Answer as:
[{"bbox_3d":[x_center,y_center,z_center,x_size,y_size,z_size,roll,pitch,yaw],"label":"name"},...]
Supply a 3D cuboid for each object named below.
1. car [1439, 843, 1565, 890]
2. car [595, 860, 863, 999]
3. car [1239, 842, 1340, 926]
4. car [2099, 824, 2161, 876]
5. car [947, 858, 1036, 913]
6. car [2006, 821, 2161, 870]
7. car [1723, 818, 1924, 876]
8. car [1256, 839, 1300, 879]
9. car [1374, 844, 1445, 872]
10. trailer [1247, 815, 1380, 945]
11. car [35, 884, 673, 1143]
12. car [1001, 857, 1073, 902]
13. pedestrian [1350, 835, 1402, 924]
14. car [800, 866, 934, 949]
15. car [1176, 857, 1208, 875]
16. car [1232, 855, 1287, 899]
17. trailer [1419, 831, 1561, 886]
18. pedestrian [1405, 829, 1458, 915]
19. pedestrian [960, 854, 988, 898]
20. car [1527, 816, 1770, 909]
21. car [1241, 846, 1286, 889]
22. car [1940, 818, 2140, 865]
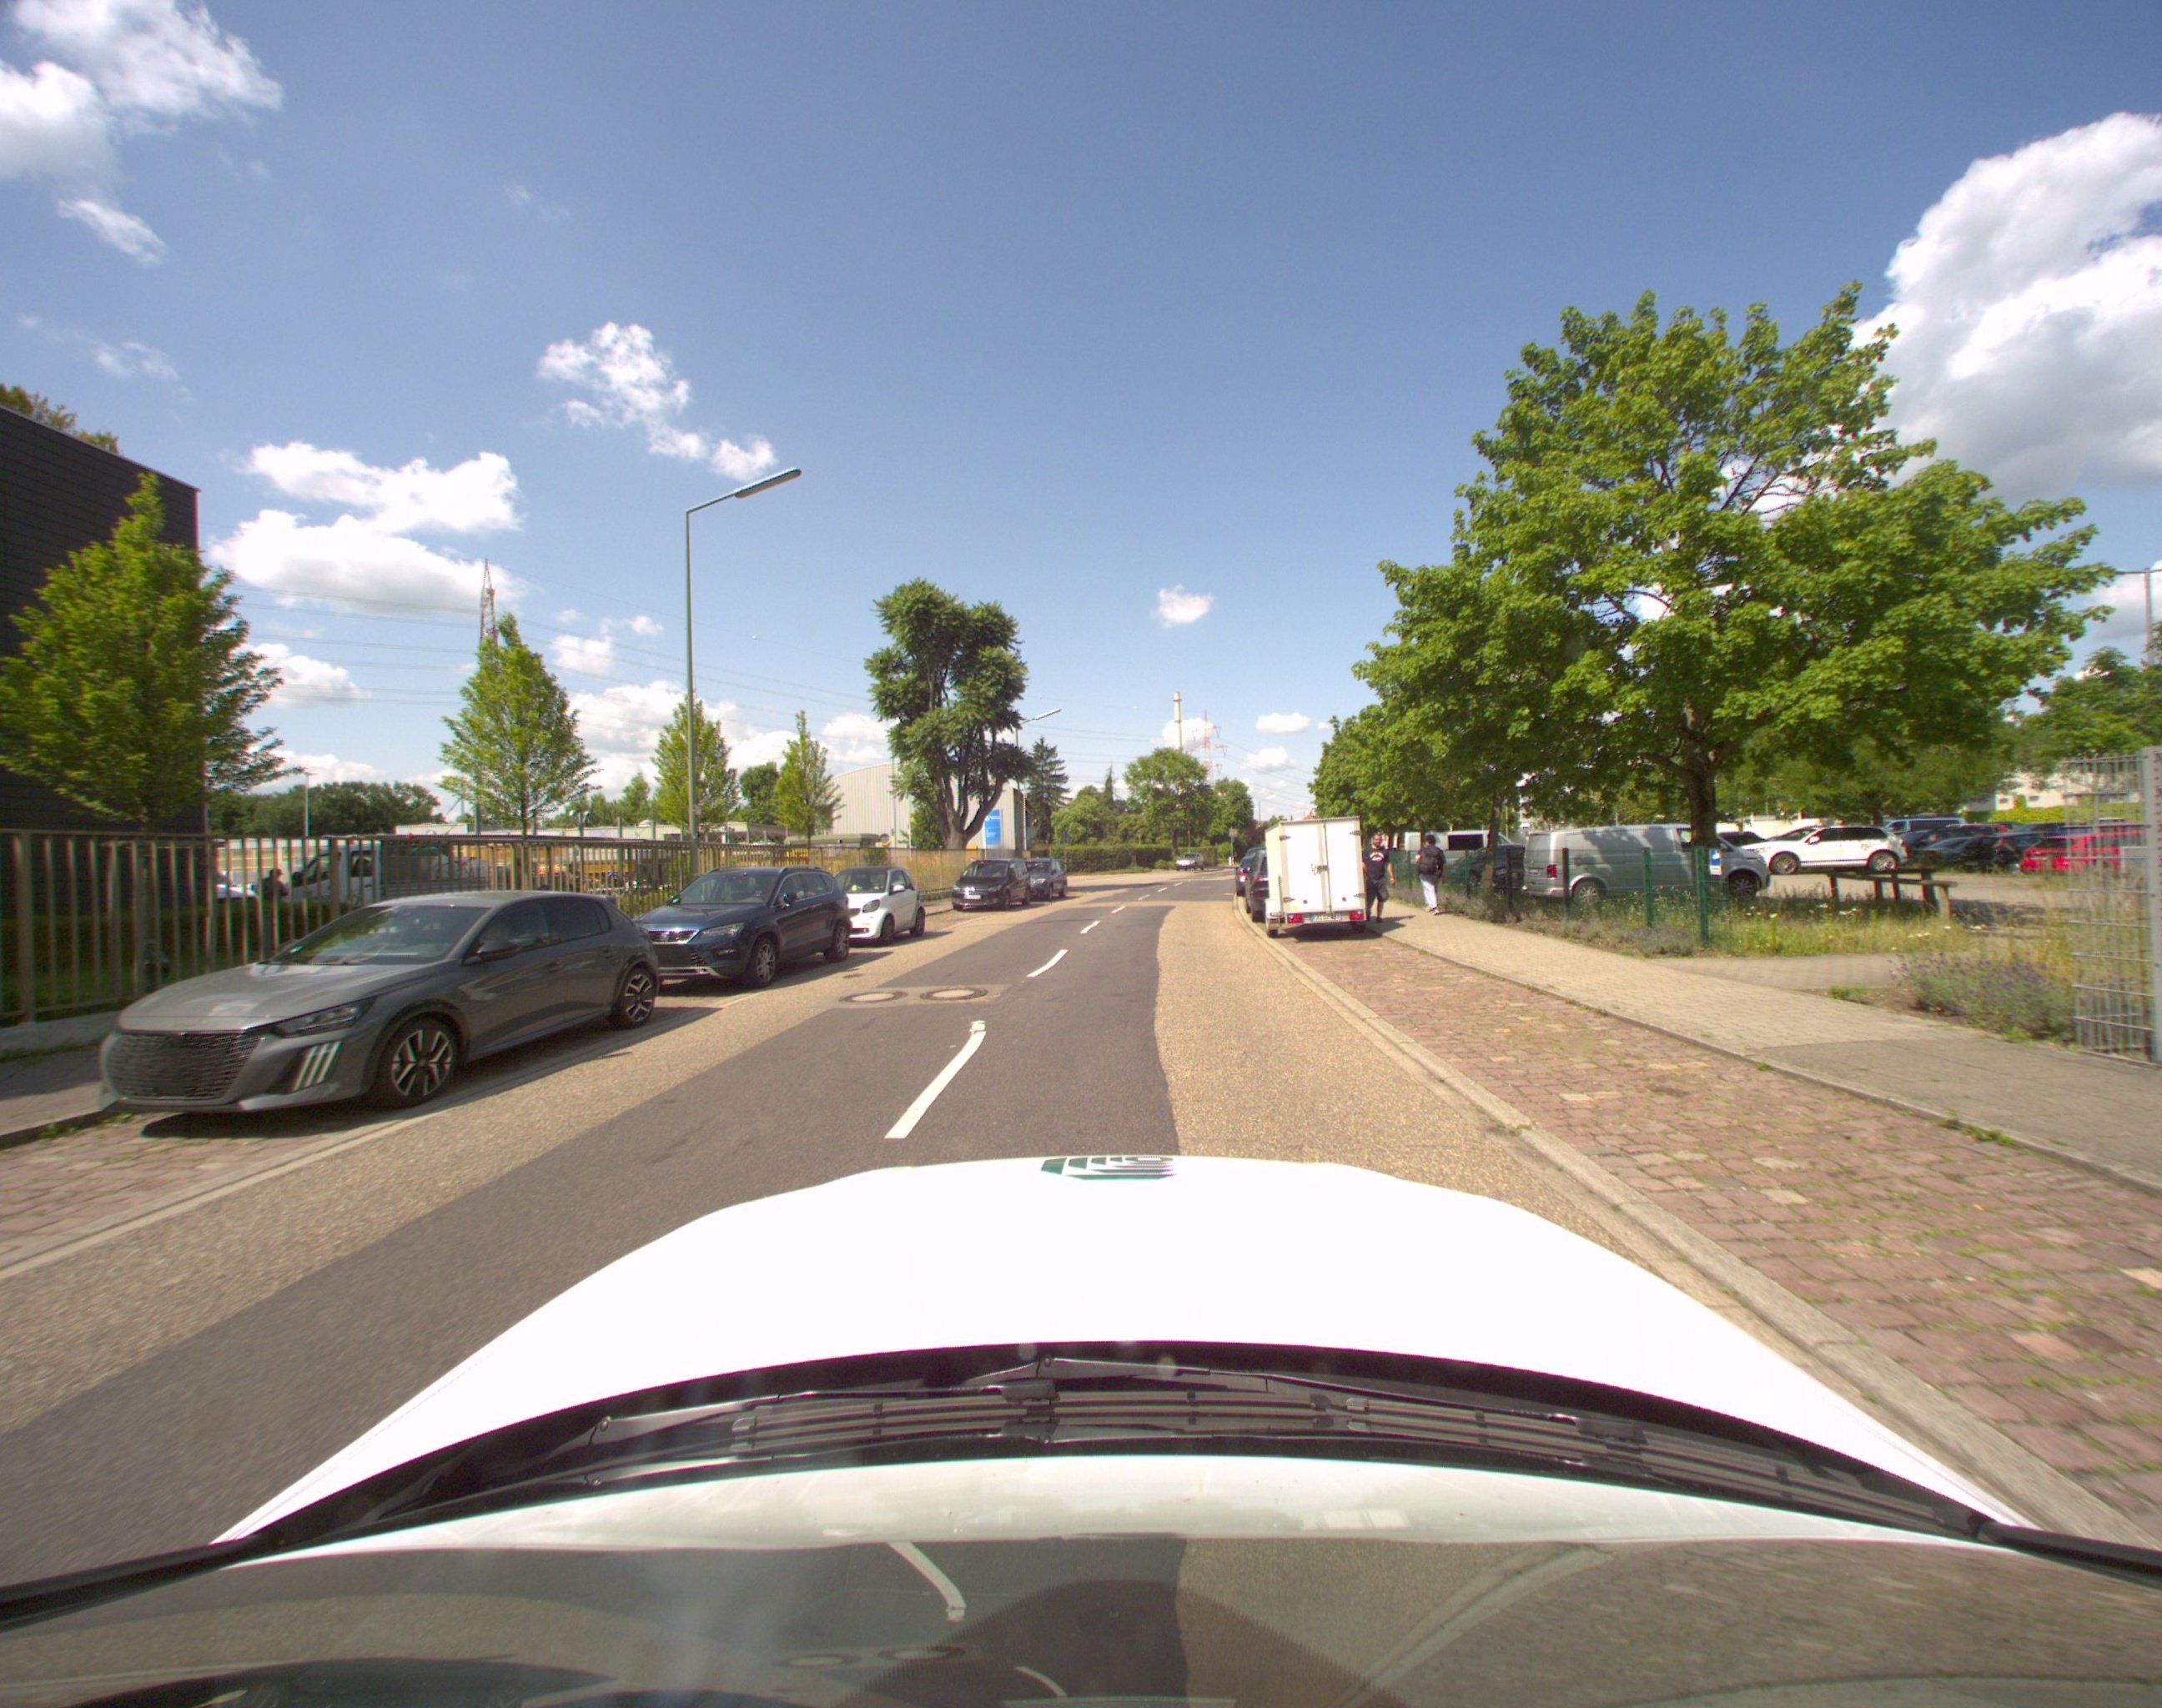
[{"bbox_3d":[16.162,0.465,31.454,3.961,1.636,1.699,-2,-1,11],"label":"car"},{"bbox_3d":[-4.850,0.936,12.014,1.725,1.656,4.317,-1,-1,5],"label":"car"},{"bbox_3d":[4.969,0.674,19.991,1.850,1.682,4.721,-4,-1,9],"label":"car"},{"bbox_3d":[30.736,-0.161,21.842,3.959,1.374,1.845,-2,-1,13],"label":"car"},{"bbox_3d":[-2.868,0.971,27.078,1.764,1.682,4.242,-1,-1,10],"label":"car"},{"bbox_3d":[31.095,-0.254,24.550,3.959,1.374,1.725,-2,-1,13],"label":"car"},{"bbox_3d":[25.694,-0.226,28.371,4.818,1.766,1.921,-2,0,12],"label":"car"},{"bbox_3d":[13.623,0.371,56.013,2.139,2.465,6.672,-4,-2,20],"label":"car"},{"bbox_3d":[22.695,0.292,56.353,4.286,1.621,1.770,-3,-1,13],"label":"car"},{"bbox_3d":[4.313,0.458,15.713,1.736,2.067,3.955,-5,-1,7],"label":"trailer"},{"bbox_3d":[-5.406,1.039,6.906,1.726,1.445,3.934,0,-1,3],"label":"car"},{"bbox_3d":[-1.658,0.975,32.657,1.788,1.651,4.703,-1,-1,10],"label":"car"},{"bbox_3d":[5.687,0.482,15.733,0.723,1.646,0.581,-5,0,6],"label":"pedestrian"},{"bbox_3d":[-4.335,1.035,16.930,1.600,1.523,3.080,-2,-1,7],"label":"car"},{"bbox_3d":[9.891,1.063,72.454,1.742,1.574,4.501,-1,-1,22],"label":"car"},{"bbox_3d":[6.795,0.834,31.302,1.830,1.460,4.883,-4,-1,11],"label":"car"},{"bbox_3d":[17.342,0.216,34.818,5.014,2.082,2.068,-2,-1,11],"label":"trailer"},{"bbox_3d":[7.159,0.367,16.646,0.717,1.693,0.741,-3,-1,6],"label":"pedestrian"},{"bbox_3d":[-4.337,0.902,33.050,0.822,1.761,0.849,0,-1,17],"label":"pedestrian"},{"bbox_3d":[13.816,0.217,20.116,4.442,1.966,2.005,-3,-1,8],"label":"car"},{"bbox_3d":[8.610,0.623,38.273,1.837,1.766,5.096,-4,-1,13],"label":"car"},{"bbox_3d":[31.794,-0.385,27.135,3.959,1.374,1.864,-2,-1,13],"label":"car"}]
